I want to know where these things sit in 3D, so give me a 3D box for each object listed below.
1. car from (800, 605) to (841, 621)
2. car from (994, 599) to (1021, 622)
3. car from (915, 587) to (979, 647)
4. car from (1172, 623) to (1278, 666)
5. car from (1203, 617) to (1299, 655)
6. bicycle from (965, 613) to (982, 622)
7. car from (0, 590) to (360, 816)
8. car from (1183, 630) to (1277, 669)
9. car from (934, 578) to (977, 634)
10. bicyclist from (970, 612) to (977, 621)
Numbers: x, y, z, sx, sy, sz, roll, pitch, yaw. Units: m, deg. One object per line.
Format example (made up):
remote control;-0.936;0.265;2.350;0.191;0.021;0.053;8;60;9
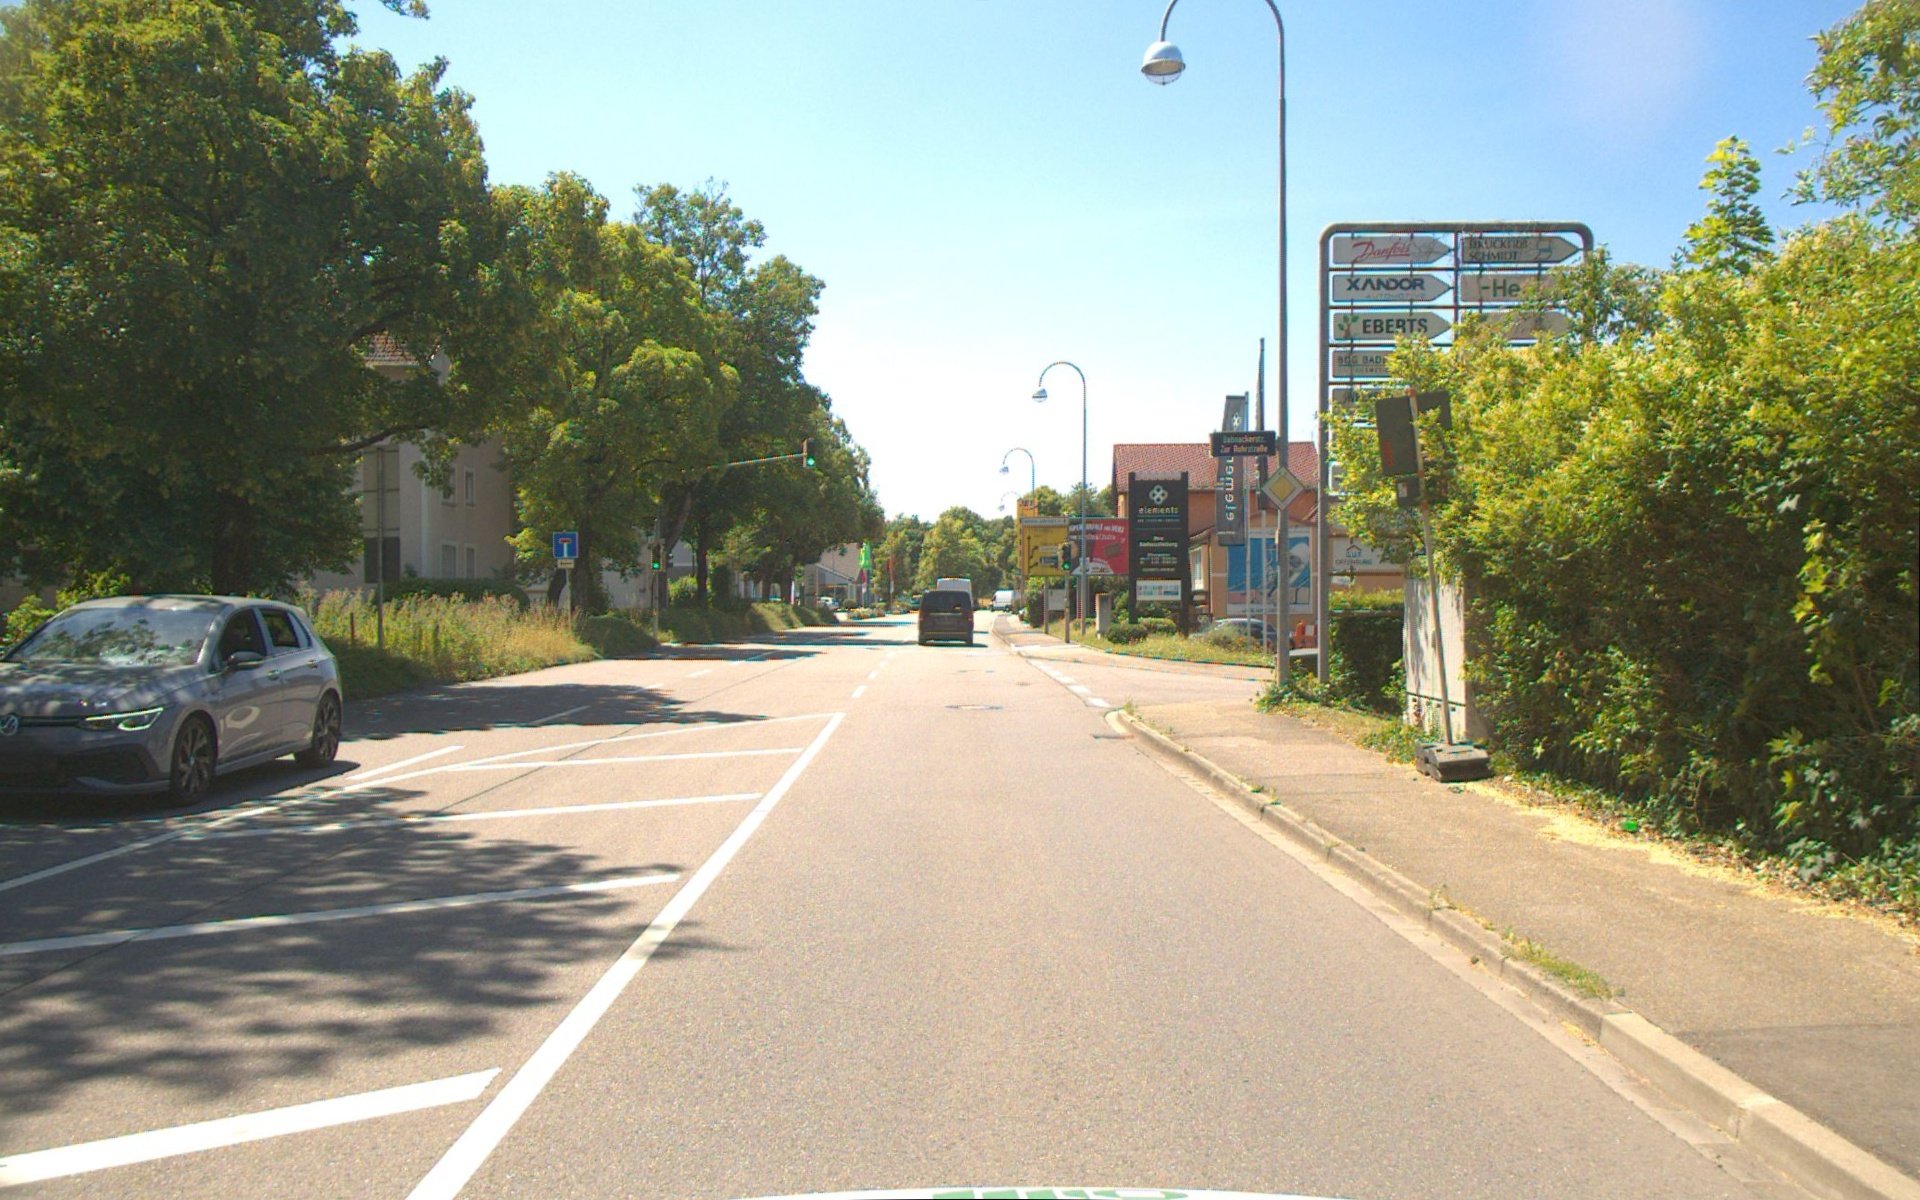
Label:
car;-14.741;1.375;174.581;3.902;1.691;2.002;1;0;10
car;5.582;1.206;195.825;2.309;2.591;4.945;1;0;-9
car;-0.482;0.536;56.100;1.954;1.926;3.997;1;0;-3
car;11.033;1.844;69.037;4.183;1.675;1.890;1;0;2
car;13.107;1.610;74.656;4.169;1.627;1.891;0;0;7
bicycle;1.387;1.804;168.794;1.690;0.902;0.554;-1;2;-21
car;-6.147;0.678;12.723;1.687;1.452;4.145;1;-1;-2
car;10.675;1.953;65.515;3.544;1.442;1.699;1;0;5
car;-0.221;0.268;83.322;2.076;2.724;5.662;1;0;0
bicyclist;1.379;1.681;168.790;0.461;0.868;0.554;-1;2;-20
